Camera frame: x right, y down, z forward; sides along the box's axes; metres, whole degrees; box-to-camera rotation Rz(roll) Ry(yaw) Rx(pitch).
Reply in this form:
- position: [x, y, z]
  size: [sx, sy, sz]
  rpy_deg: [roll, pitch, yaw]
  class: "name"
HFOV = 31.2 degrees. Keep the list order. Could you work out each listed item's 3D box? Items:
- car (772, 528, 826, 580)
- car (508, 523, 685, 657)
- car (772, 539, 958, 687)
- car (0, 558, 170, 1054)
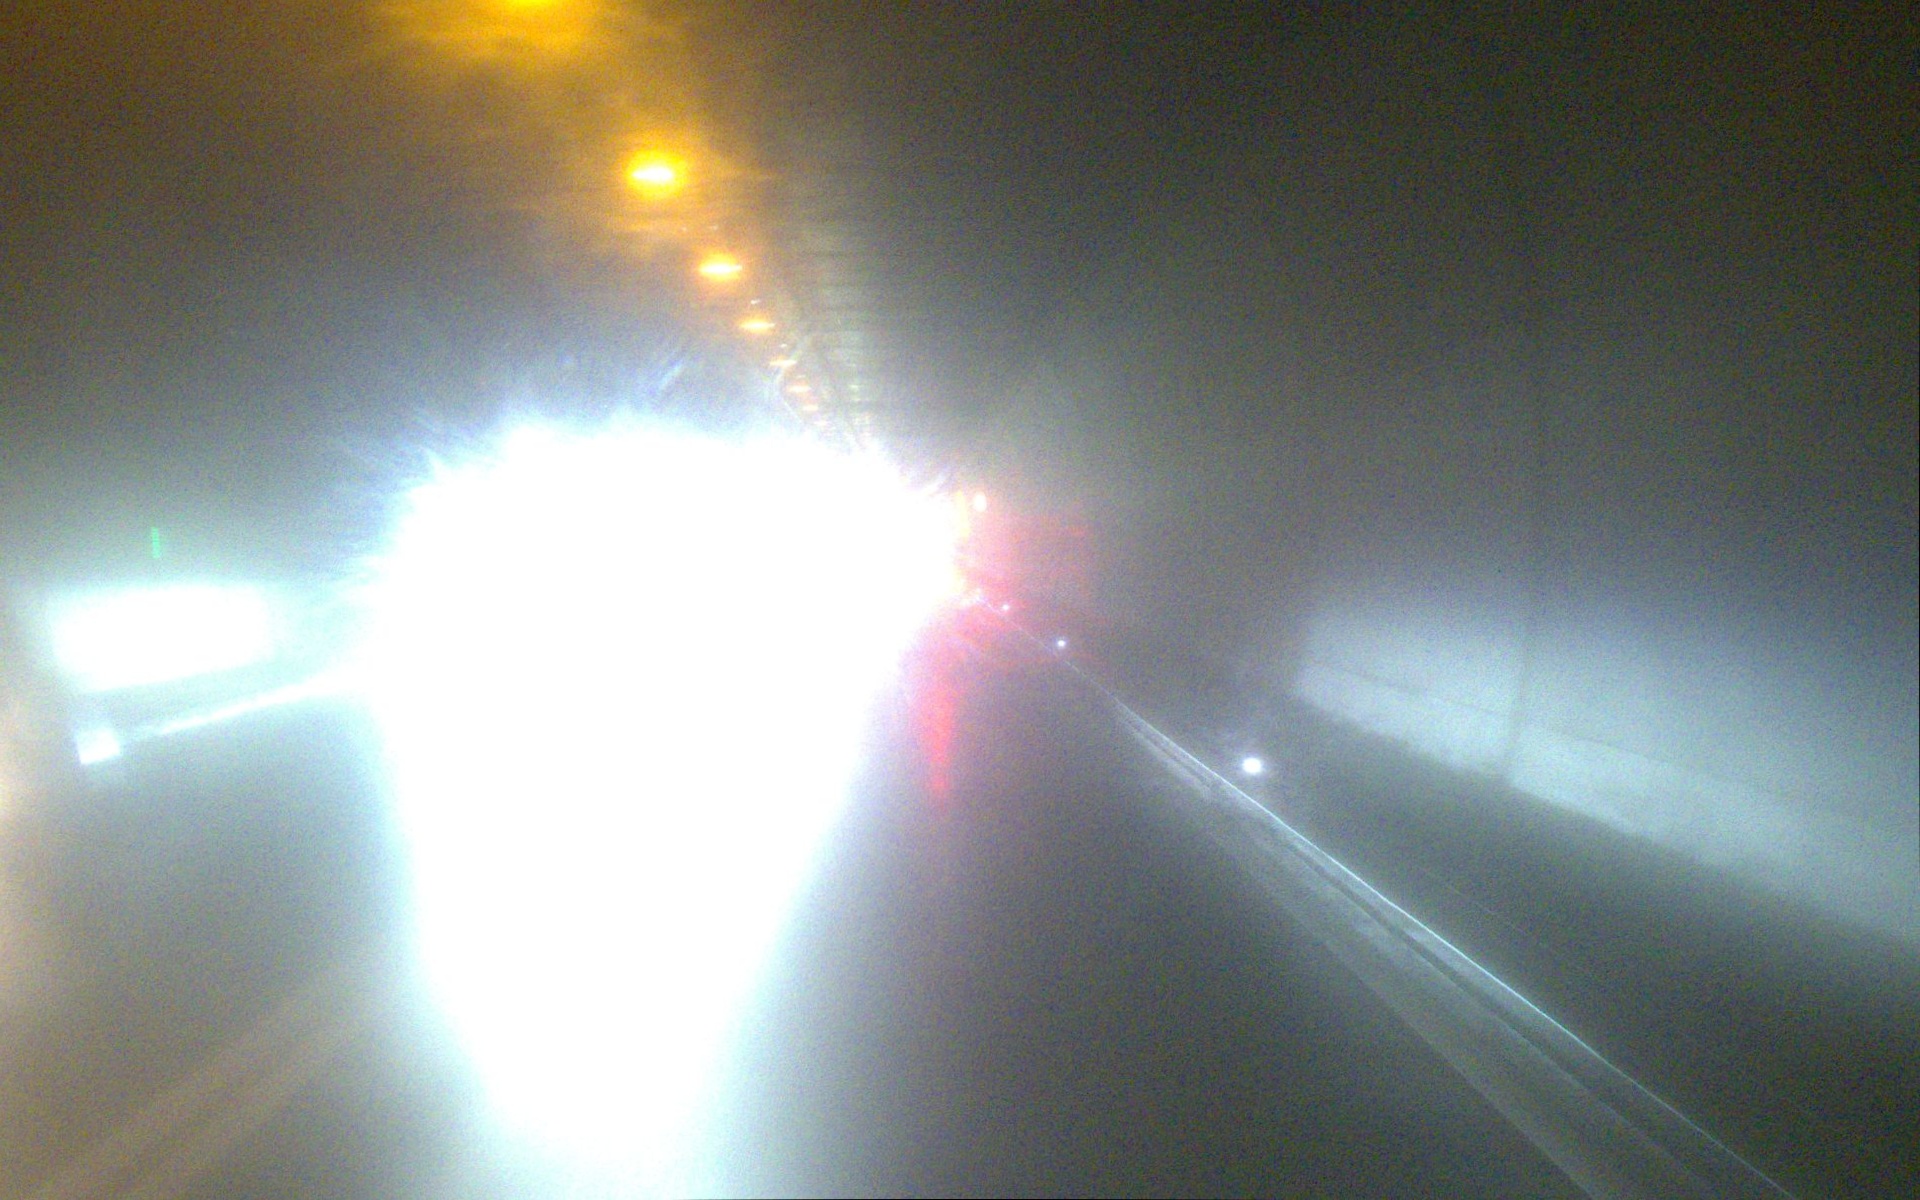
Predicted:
- position: [-6.324, -1.817, 135.160]
  size: [1.993, 2.007, 4.000]
  rpy_deg: [0, 1, -1]
  class: "car"
- position: [-4.853, -0.165, 46.414]
  size: [1.993, 1.704, 4.281]
  rpy_deg: [1, 1, -1]
  class: "car"
- position: [-1.120, 0.113, 40.827]
  size: [2.089, 1.656, 4.000]
  rpy_deg: [0, 1, -1]
  class: "car"
- position: [-3.619, 0.591, 10.368]
  size: [1.690, 1.417, 3.625]
  rpy_deg: [0, 1, -1]
  class: "car"
